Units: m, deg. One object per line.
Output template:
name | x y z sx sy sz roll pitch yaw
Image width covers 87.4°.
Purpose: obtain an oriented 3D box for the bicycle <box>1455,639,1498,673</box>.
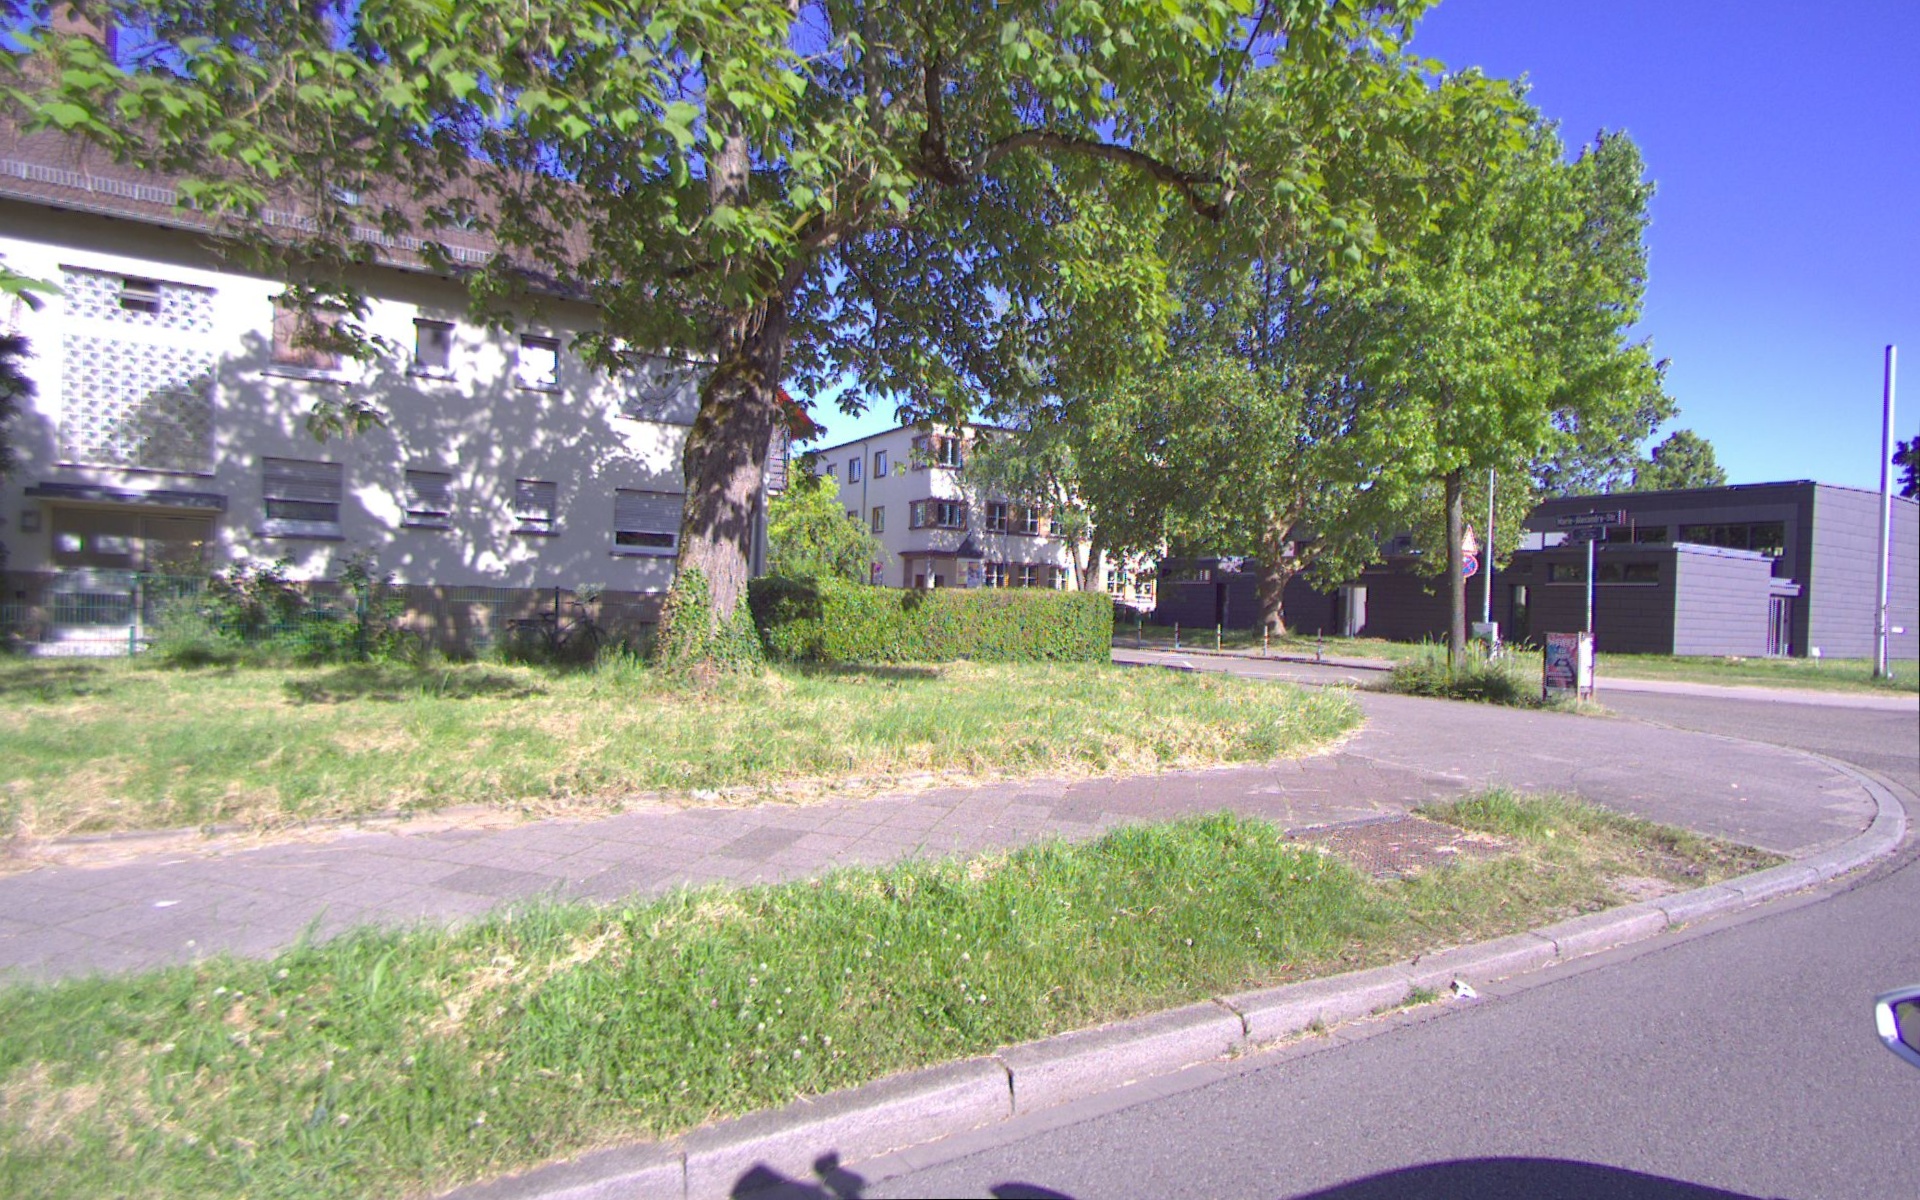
bicycle | 14.405 1.563 28.014 0.999 0.899 0.440 0 0 16
